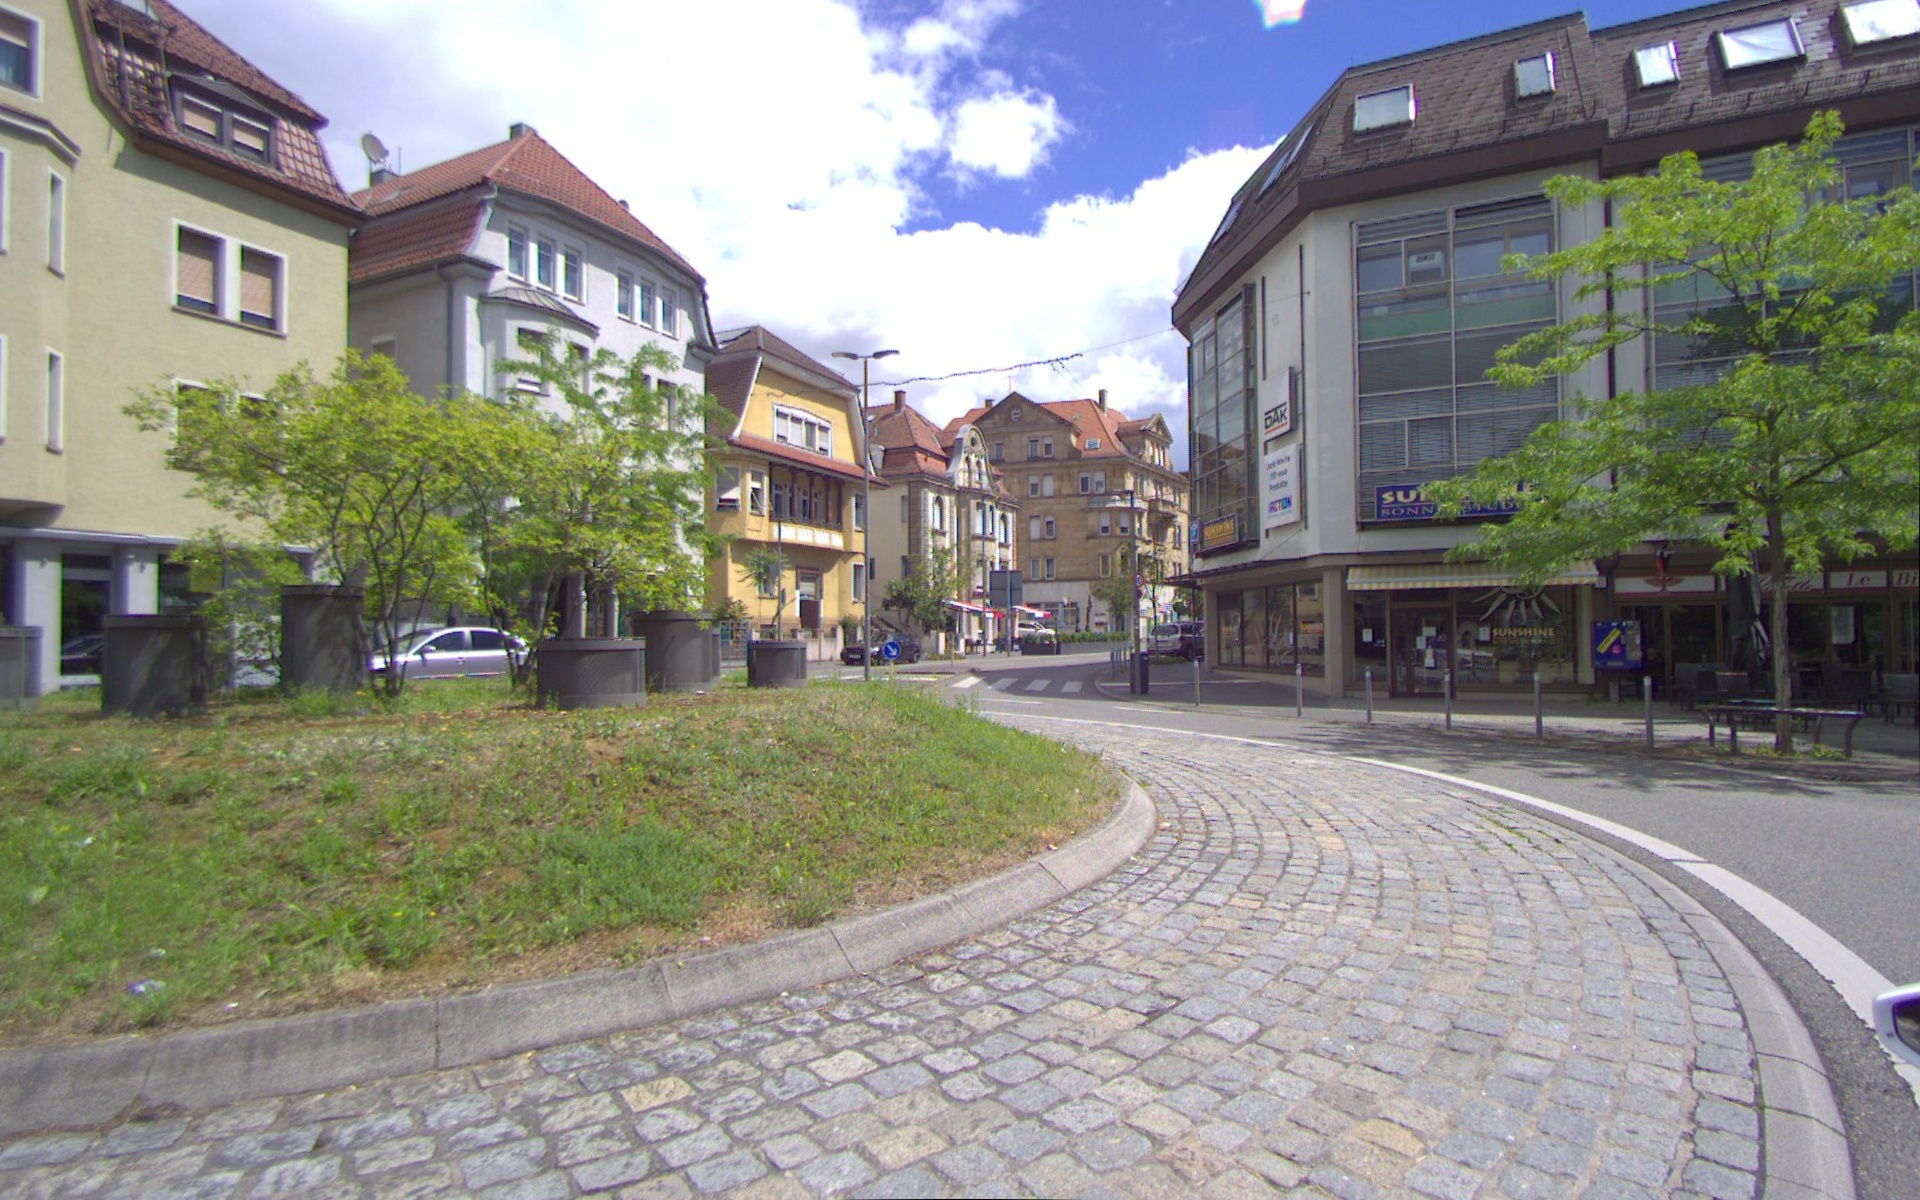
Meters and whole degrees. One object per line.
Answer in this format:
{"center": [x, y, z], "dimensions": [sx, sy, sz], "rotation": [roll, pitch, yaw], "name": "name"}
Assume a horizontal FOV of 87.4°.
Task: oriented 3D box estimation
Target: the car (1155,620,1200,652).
{"center": [12.530, 2.043, 57.567], "dimensions": [1.794, 1.729, 4.439], "rotation": [1, -1, 22], "name": "car"}

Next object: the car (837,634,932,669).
{"center": [-2.971, 2.010, 40.326], "dimensions": [1.684, 1.262, 4.404], "rotation": [-1, -1, 29], "name": "car"}

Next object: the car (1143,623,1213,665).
{"center": [9.711, 1.919, 44.515], "dimensions": [1.798, 1.753, 4.224], "rotation": [-2, -3, 31], "name": "car"}

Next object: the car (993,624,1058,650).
{"center": [4.680, 2.652, 71.621], "dimensions": [4.343, 1.799, 2.001], "rotation": [0, -2, 12], "name": "car"}

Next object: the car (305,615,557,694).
{"center": [-10.181, 1.113, 19.579], "dimensions": [1.689, 1.371, 3.983], "rotation": [-2, -5, 39], "name": "car"}
